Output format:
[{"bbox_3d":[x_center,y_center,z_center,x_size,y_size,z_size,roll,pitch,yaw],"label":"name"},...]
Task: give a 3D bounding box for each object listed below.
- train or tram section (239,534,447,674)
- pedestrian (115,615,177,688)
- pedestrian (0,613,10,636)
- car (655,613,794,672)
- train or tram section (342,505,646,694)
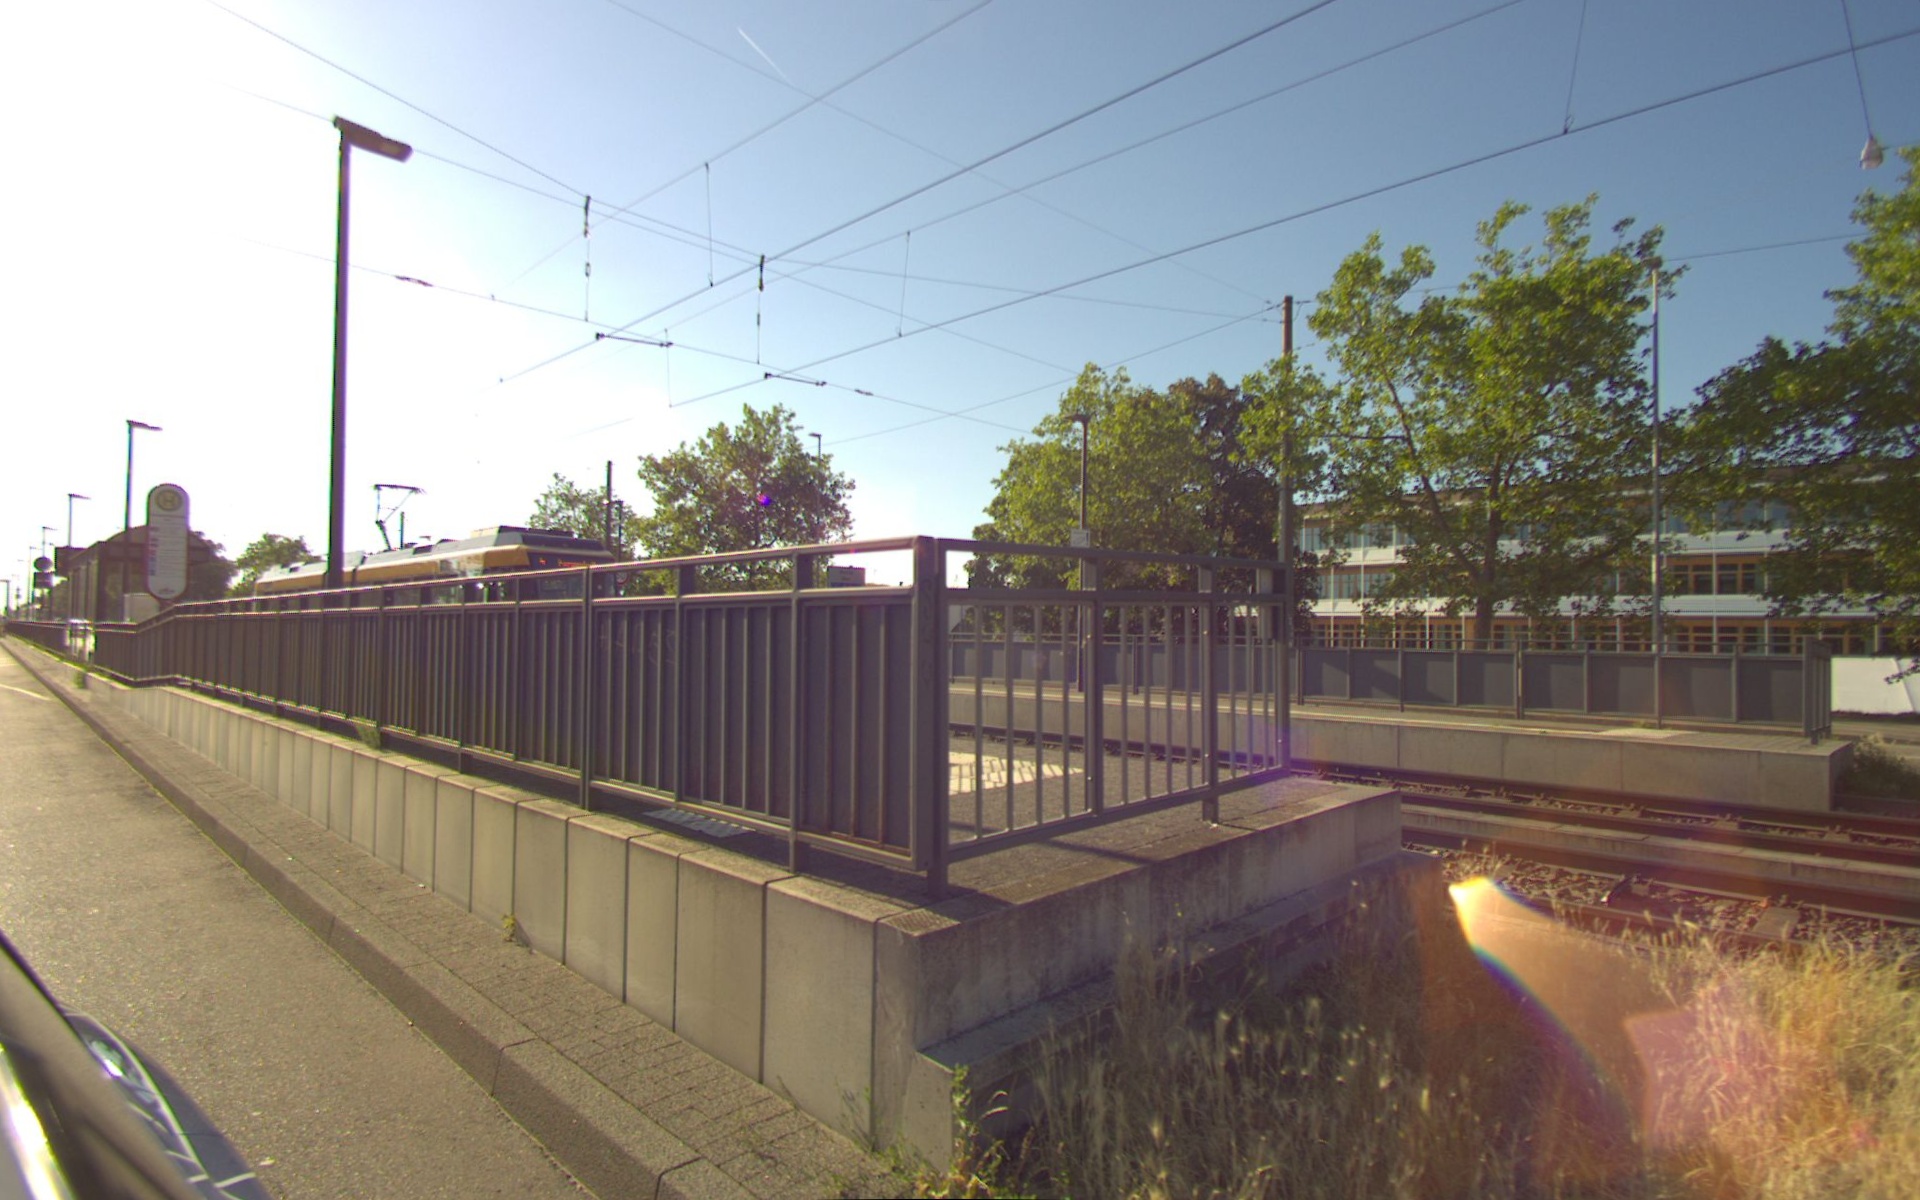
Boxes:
[{"bbox_3d":[-22.323,0.272,35.833,2.794,4.036,15.885,1,-2,-44],"label":"train or tram section"},{"bbox_3d":[-17.087,1.068,21.258,0.749,1.505,0.696,0,-2,-12],"label":"pedestrian"},{"bbox_3d":[-69.354,1.754,73.118,0.987,1.657,0.880,-1,-3,42],"label":"pedestrian"},{"bbox_3d":[-6.891,1.196,29.395,1.971,1.573,4.337,2,-2,-45],"label":"car"},{"bbox_3d":[-12.320,0.114,25.560,2.794,3.715,12.977,1,-2,-44],"label":"train or tram section"}]
